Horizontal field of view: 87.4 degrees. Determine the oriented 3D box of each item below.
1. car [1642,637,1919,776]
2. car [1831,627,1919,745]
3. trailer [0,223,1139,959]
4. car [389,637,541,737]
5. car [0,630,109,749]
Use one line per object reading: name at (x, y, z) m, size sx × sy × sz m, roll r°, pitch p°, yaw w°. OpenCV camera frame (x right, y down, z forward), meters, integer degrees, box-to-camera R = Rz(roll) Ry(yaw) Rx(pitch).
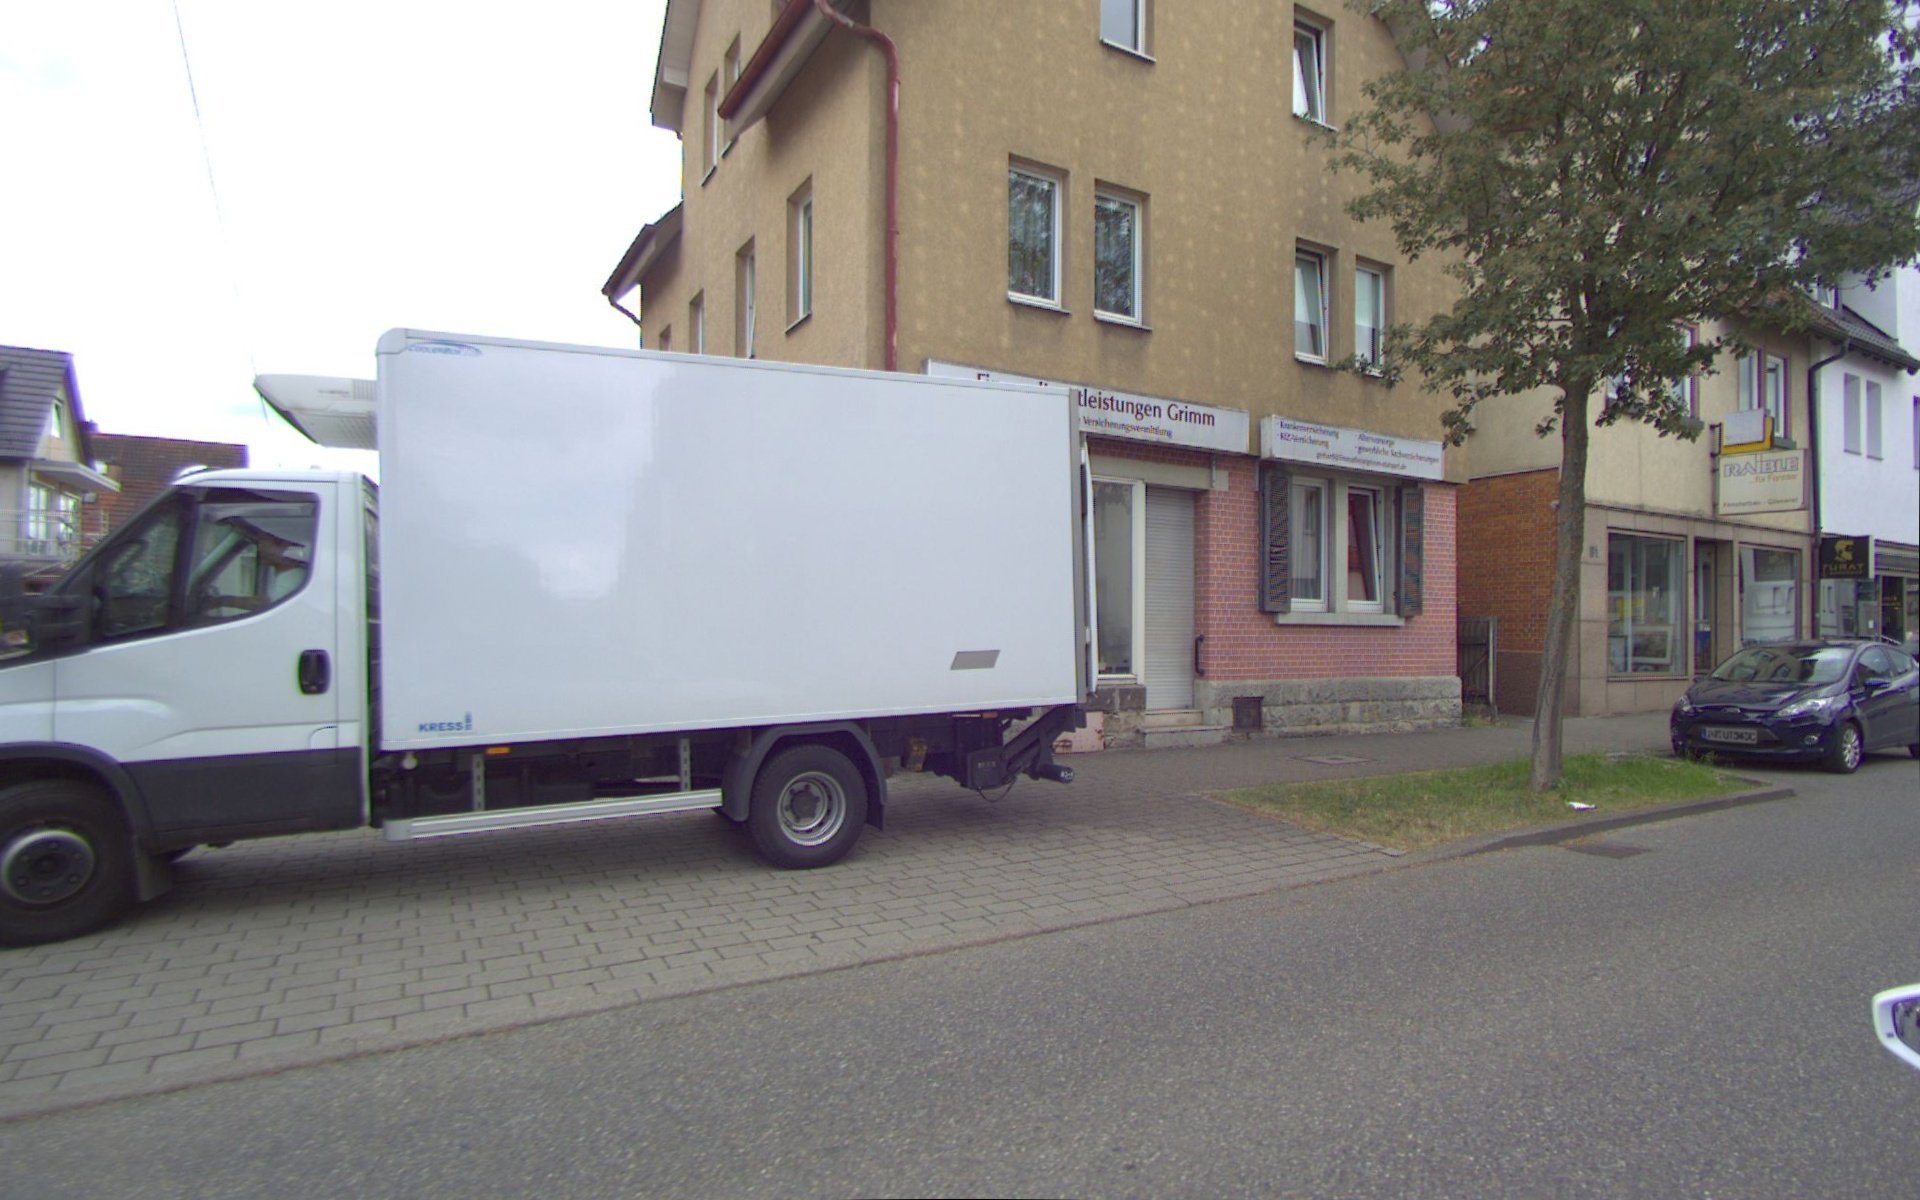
car at (10.229, 1.190, 12.237) m, size 3.885 × 1.443 × 1.674 m, roll 1°, pitch -3°, yaw -31°
car at (14.733, 1.210, 14.703) m, size 4.063 × 1.586 × 1.703 m, roll 1°, pitch -3°, yaw -29°
trailer at (-2.453, -0.021, 6.667) m, size 7.037 × 3.262 × 2.496 m, roll 0°, pitch 0°, yaw -25°
car at (-8.670, 1.482, 17.394) m, size 1.957 × 1.467 × 4.179 m, roll 6°, pitch -6°, yaw -30°
car at (-14.322, 1.263, 14.833) m, size 1.757 × 1.501 × 3.972 m, roll -2°, pitch 0°, yaw -27°
